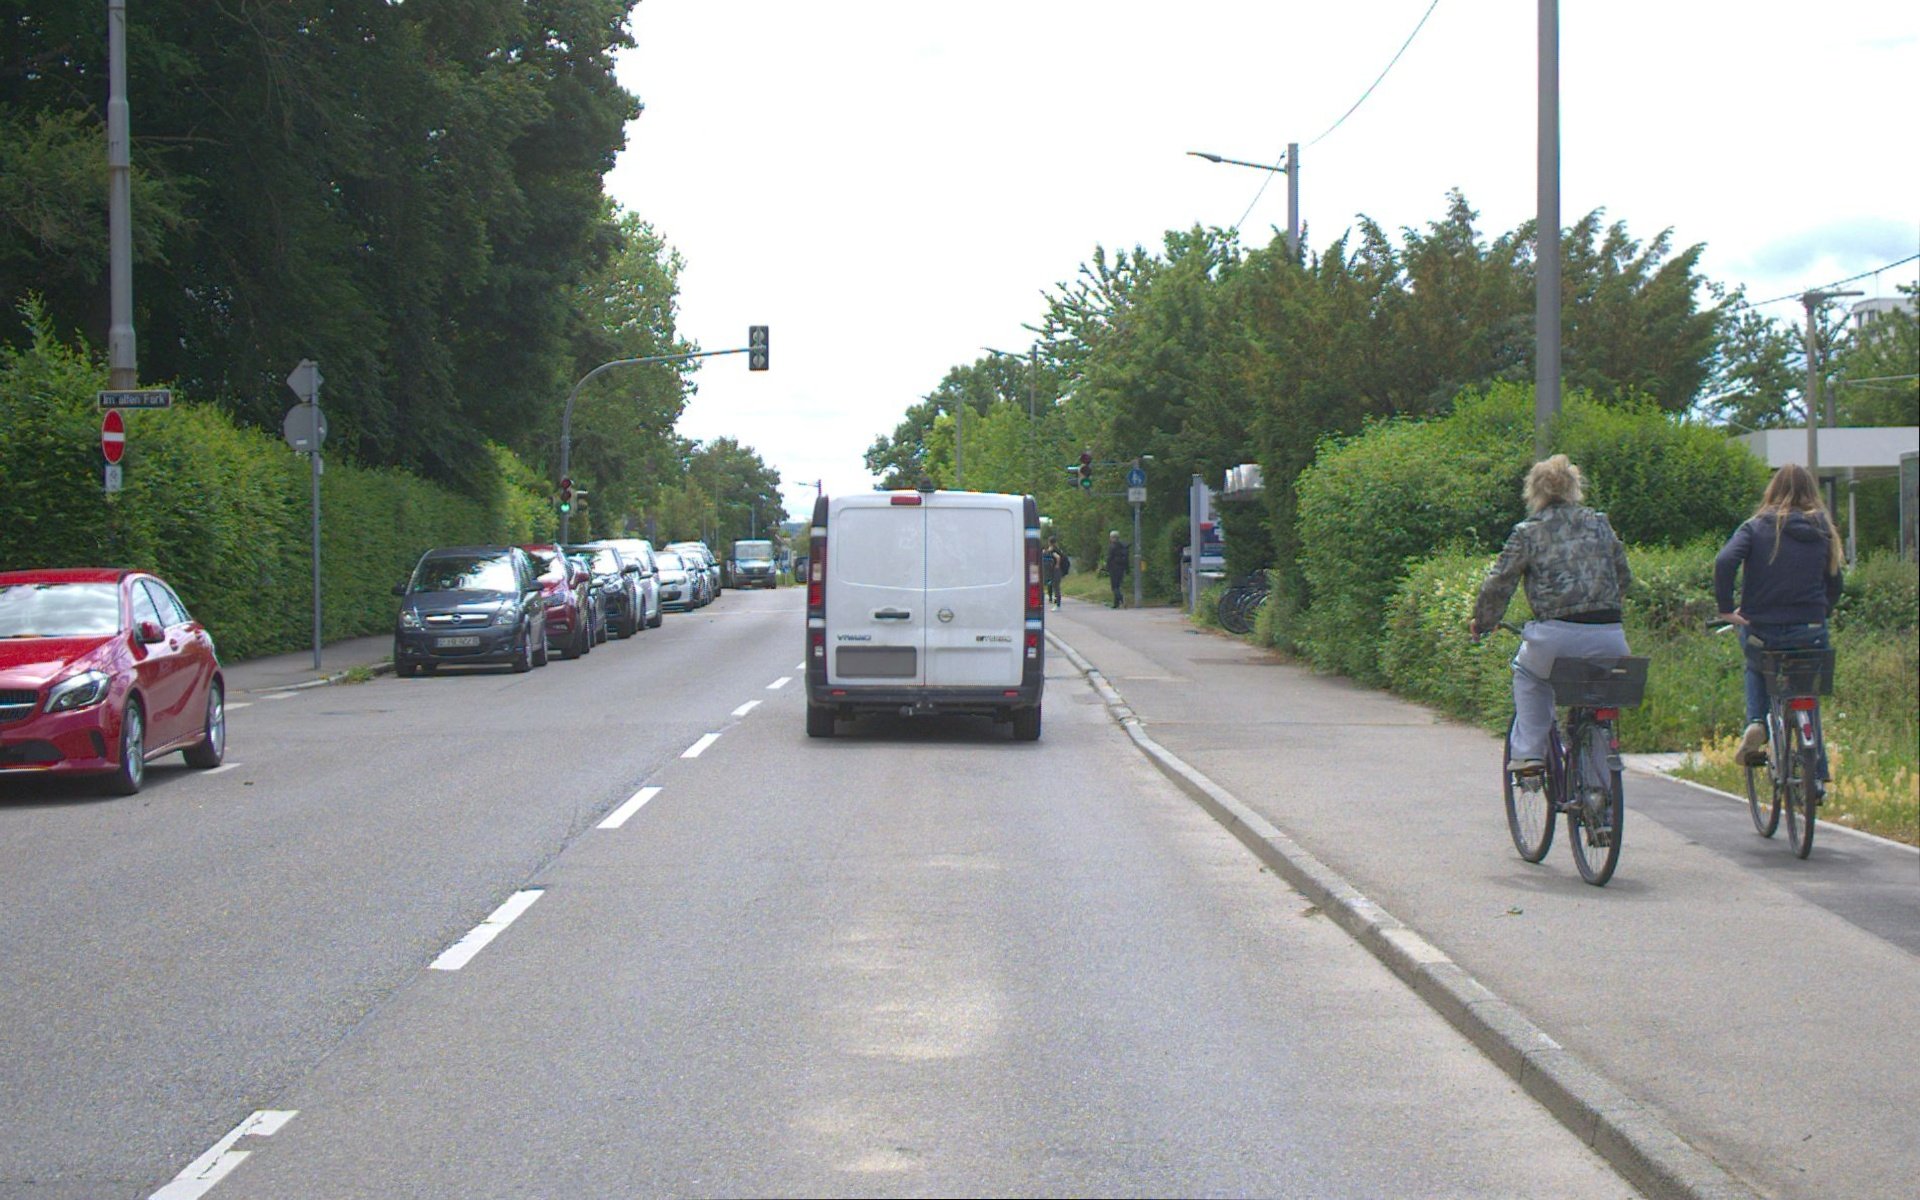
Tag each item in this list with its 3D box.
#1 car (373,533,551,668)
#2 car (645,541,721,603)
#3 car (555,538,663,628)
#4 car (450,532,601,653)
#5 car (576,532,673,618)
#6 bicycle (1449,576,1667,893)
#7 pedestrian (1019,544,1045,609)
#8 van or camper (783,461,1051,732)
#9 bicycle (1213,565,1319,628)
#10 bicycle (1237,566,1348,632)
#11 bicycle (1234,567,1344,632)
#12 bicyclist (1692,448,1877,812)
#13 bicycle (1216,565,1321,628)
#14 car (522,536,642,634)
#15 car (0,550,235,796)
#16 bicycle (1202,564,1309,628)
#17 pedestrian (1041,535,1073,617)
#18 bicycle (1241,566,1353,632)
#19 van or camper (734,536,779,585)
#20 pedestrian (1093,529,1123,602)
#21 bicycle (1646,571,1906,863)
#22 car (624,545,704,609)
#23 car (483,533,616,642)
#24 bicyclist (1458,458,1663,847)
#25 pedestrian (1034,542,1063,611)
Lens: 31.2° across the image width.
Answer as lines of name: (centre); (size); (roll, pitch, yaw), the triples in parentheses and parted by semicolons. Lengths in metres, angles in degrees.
car: (-6.325, -0.029, 44.060); (1.761, 1.620, 4.186); (-1, 1, -2)
car: (-7.673, -0.790, 95.588); (1.780, 1.663, 4.000); (0, 1, 0)
car: (-6.709, -0.346, 65.989); (1.761, 1.651, 3.815); (-1, 1, -2)
car: (-6.288, -0.136, 50.098); (1.761, 1.651, 4.061); (-1, 1, -2)
car: (-7.089, -0.547, 72.956); (1.761, 1.750, 3.815); (-1, 1, -2)
bicycle: (2.540, 0.531, 14.794); (0.546, 1.242, 2.055); (0, 1, -1)
pedestrian: (2.043, -0.666, 97.111); (0.702, 1.844, 0.666); (0, 1, 0)
van or camper: (-0.328, -0.037, 28.281); (1.993, 2.007, 4.446); (1, 0, 0)
bicycle: (5.063, -0.053, 57.003); (1.698, 1.027, 0.491); (0, 1, -1)
bicycle: (5.282, -0.015, 54.696); (1.698, 1.027, 0.491); (0, 1, -1)
bicycle: (5.286, -0.012, 55.271); (1.698, 1.027, 0.491); (0, 1, -1)
bicyclist: (3.816, 0.127, 15.955); (0.639, 1.644, 0.819); (0, 1, -1)
bicycle: (5.160, -0.061, 57.592); (1.698, 1.027, 0.491); (0, 1, -1)
car: (-6.647, -0.286, 60.773); (1.761, 1.651, 3.815); (-1, 1, -2)
car: (-6.086, 0.420, 22.767); (1.761, 1.466, 4.186); (-1, 1, -2)
bicycle: (4.847, -0.066, 56.460); (1.698, 1.027, 0.491); (0, 1, -1)
pedestrian: (2.190, -0.544, 77.559); (0.680, 1.834, 0.645); (0, 1, 6)
bicycle: (5.297, -0.016, 54.140); (1.698, 1.027, 0.491); (0, 1, -1)
van or camper: (-9.606, -1.890, 162.398); (2.004, 2.254, 4.613); (-1, 1, -4)
pedestrian: (3.458, -0.799, 80.265); (0.674, 1.690, 0.522); (0, 1, 4)
bicycle: (3.801, 0.501, 16.198); (0.618, 1.242, 2.396); (0, 1, -1)
car: (-7.427, -0.595, 86.525); (1.761, 1.551, 3.815); (-1, 1, -2)
car: (-6.568, -0.225, 55.274); (1.761, 1.651, 3.815); (-1, 1, -2)
bicyclist: (2.542, 0.212, 14.610); (0.717, 1.606, 0.757); (0, 1, -1)
pedestrian: (2.311, -0.611, 89.868); (0.649, 1.800, 0.566); (0, 1, -12)
